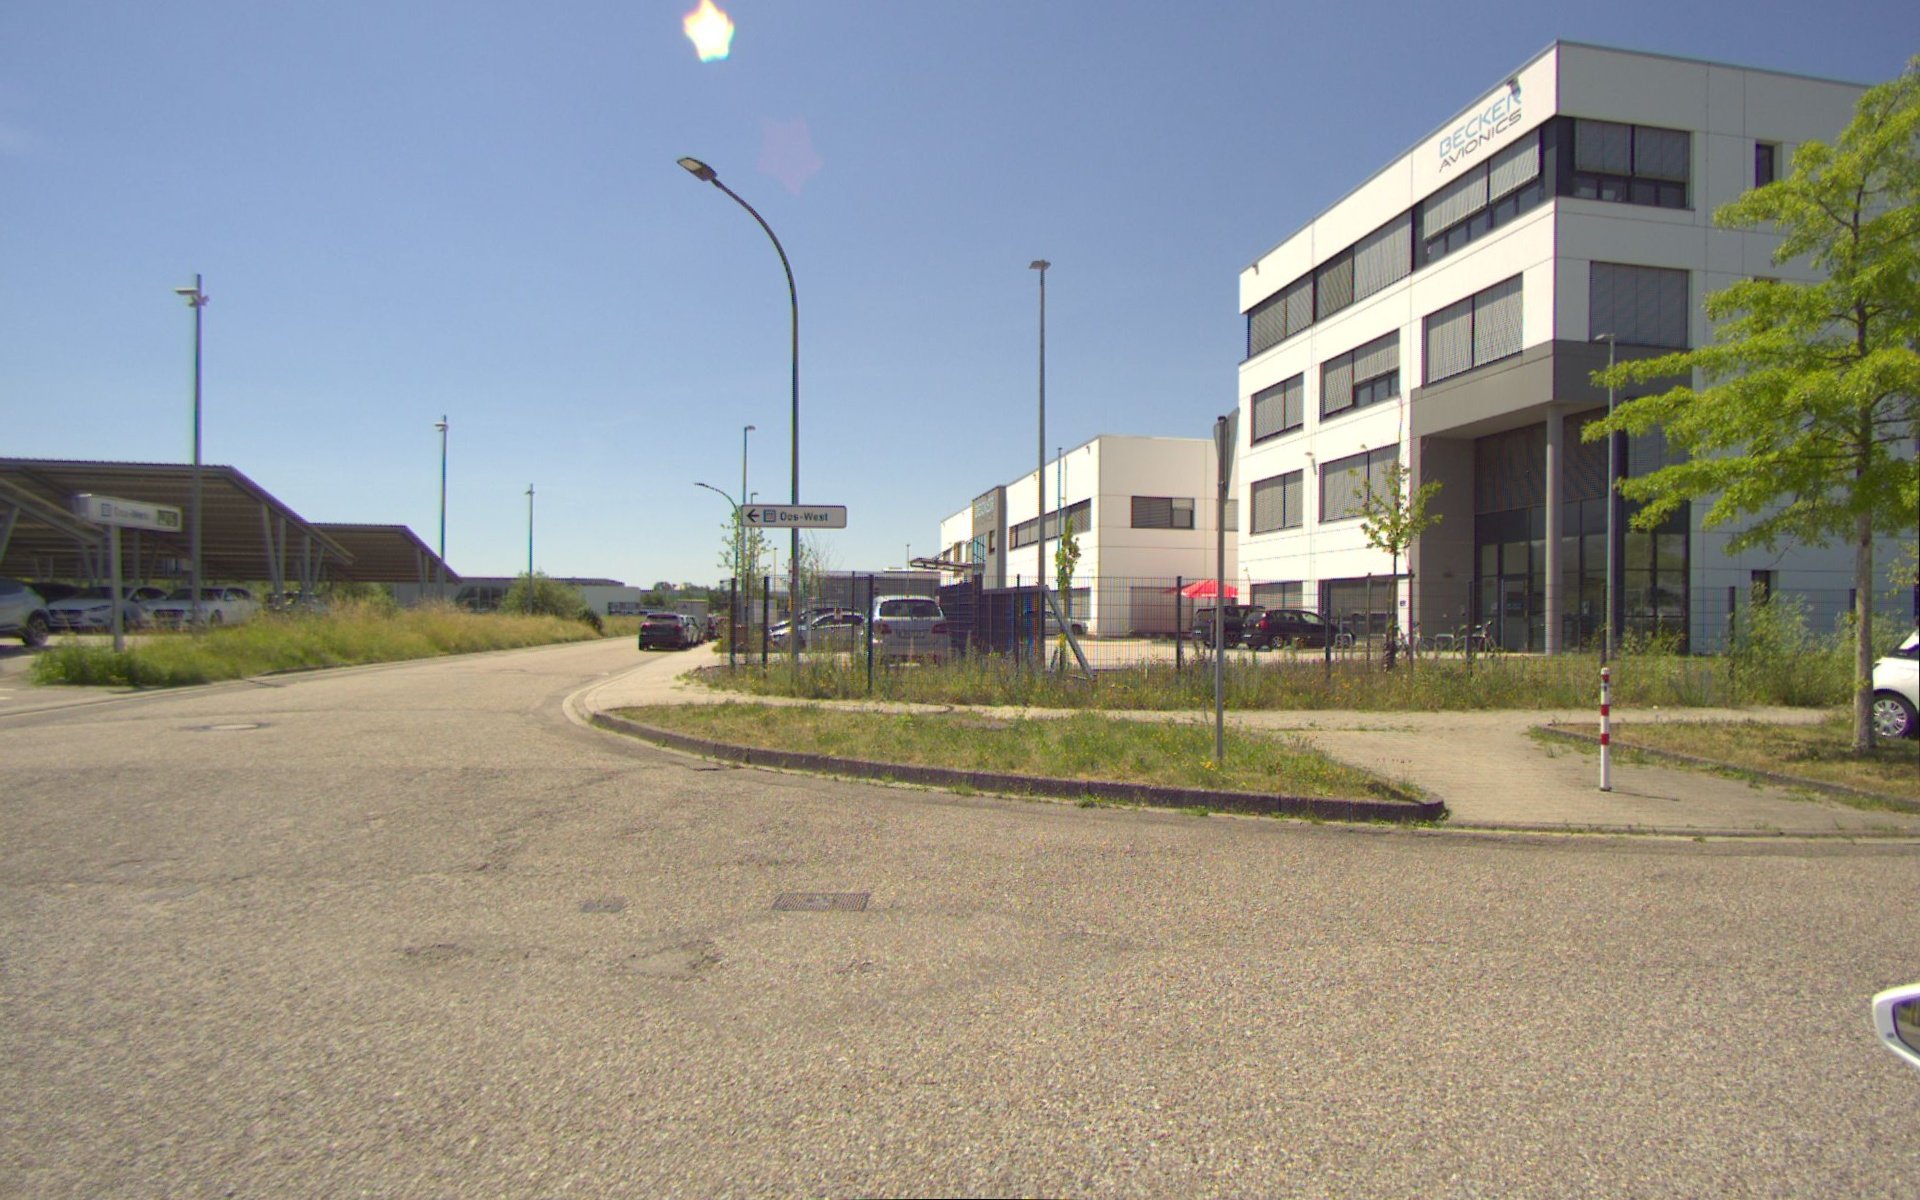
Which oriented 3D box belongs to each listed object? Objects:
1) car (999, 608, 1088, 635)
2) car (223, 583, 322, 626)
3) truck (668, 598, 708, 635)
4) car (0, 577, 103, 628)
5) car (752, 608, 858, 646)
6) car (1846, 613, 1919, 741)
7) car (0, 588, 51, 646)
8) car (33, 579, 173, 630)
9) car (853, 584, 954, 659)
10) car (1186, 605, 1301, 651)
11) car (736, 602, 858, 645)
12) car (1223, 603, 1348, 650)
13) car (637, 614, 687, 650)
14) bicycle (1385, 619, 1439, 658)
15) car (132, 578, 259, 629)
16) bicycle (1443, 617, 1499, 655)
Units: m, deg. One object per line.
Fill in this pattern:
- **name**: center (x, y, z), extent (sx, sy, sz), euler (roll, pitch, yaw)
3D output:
- **car**: center (4.268, 1.088, 51.443), extent (4.262, 1.357, 1.778), euler (0, -1, -12)
- **car**: center (-24.804, 0.199, 36.402), extent (1.694, 1.455, 3.766), euler (0, -1, -14)
- **truck**: center (-15.845, 0.942, 58.669), extent (2.130, 2.040, 5.082), euler (1, -1, -14)
- **car**: center (-28.046, 0.107, 30.370), extent (1.694, 1.455, 3.766), euler (0, -1, -14)
- **car**: center (-6.527, 1.130, 42.326), extent (4.326, 1.534, 1.696), euler (1, -1, -11)
- **car**: center (12.088, 0.922, 10.815), extent (1.697, 1.460, 3.509), euler (0, 1, -10)
- **car**: center (-21.166, 0.354, 20.913), extent (1.694, 1.244, 3.766), euler (0, -1, -14)
- **car**: center (-26.066, 0.158, 30.723), extent (1.694, 1.455, 3.766), euler (0, -1, -14)
- **car**: center (-1.311, 0.469, 21.957), extent (1.693, 1.483, 3.673), euler (0, -1, -12)
- **car**: center (10.933, 1.084, 38.841), extent (3.930, 1.706, 1.778), euler (0, -1, -12)
- **car**: center (-5.983, 0.859, 36.955), extent (4.326, 1.534, 1.696), euler (1, -1, -11)
- **car**: center (11.692, 0.949, 36.168), extent (3.930, 1.623, 1.778), euler (0, -1, -12)
- **car**: center (-12.057, 1.263, 40.793), extent (1.668, 1.395, 3.990), euler (1, -1, -13)
- **bicycle**: center (11.911, 0.994, 26.517), extent (0.454, 0.995, 1.593), euler (0, -1, -12)
- **car**: center (-23.443, 0.143, 30.965), extent (1.694, 1.455, 3.766), euler (0, -1, -14)
- **bicycle**: center (13.719, 0.948, 27.011), extent (0.454, 0.995, 1.593), euler (0, -1, -12)
